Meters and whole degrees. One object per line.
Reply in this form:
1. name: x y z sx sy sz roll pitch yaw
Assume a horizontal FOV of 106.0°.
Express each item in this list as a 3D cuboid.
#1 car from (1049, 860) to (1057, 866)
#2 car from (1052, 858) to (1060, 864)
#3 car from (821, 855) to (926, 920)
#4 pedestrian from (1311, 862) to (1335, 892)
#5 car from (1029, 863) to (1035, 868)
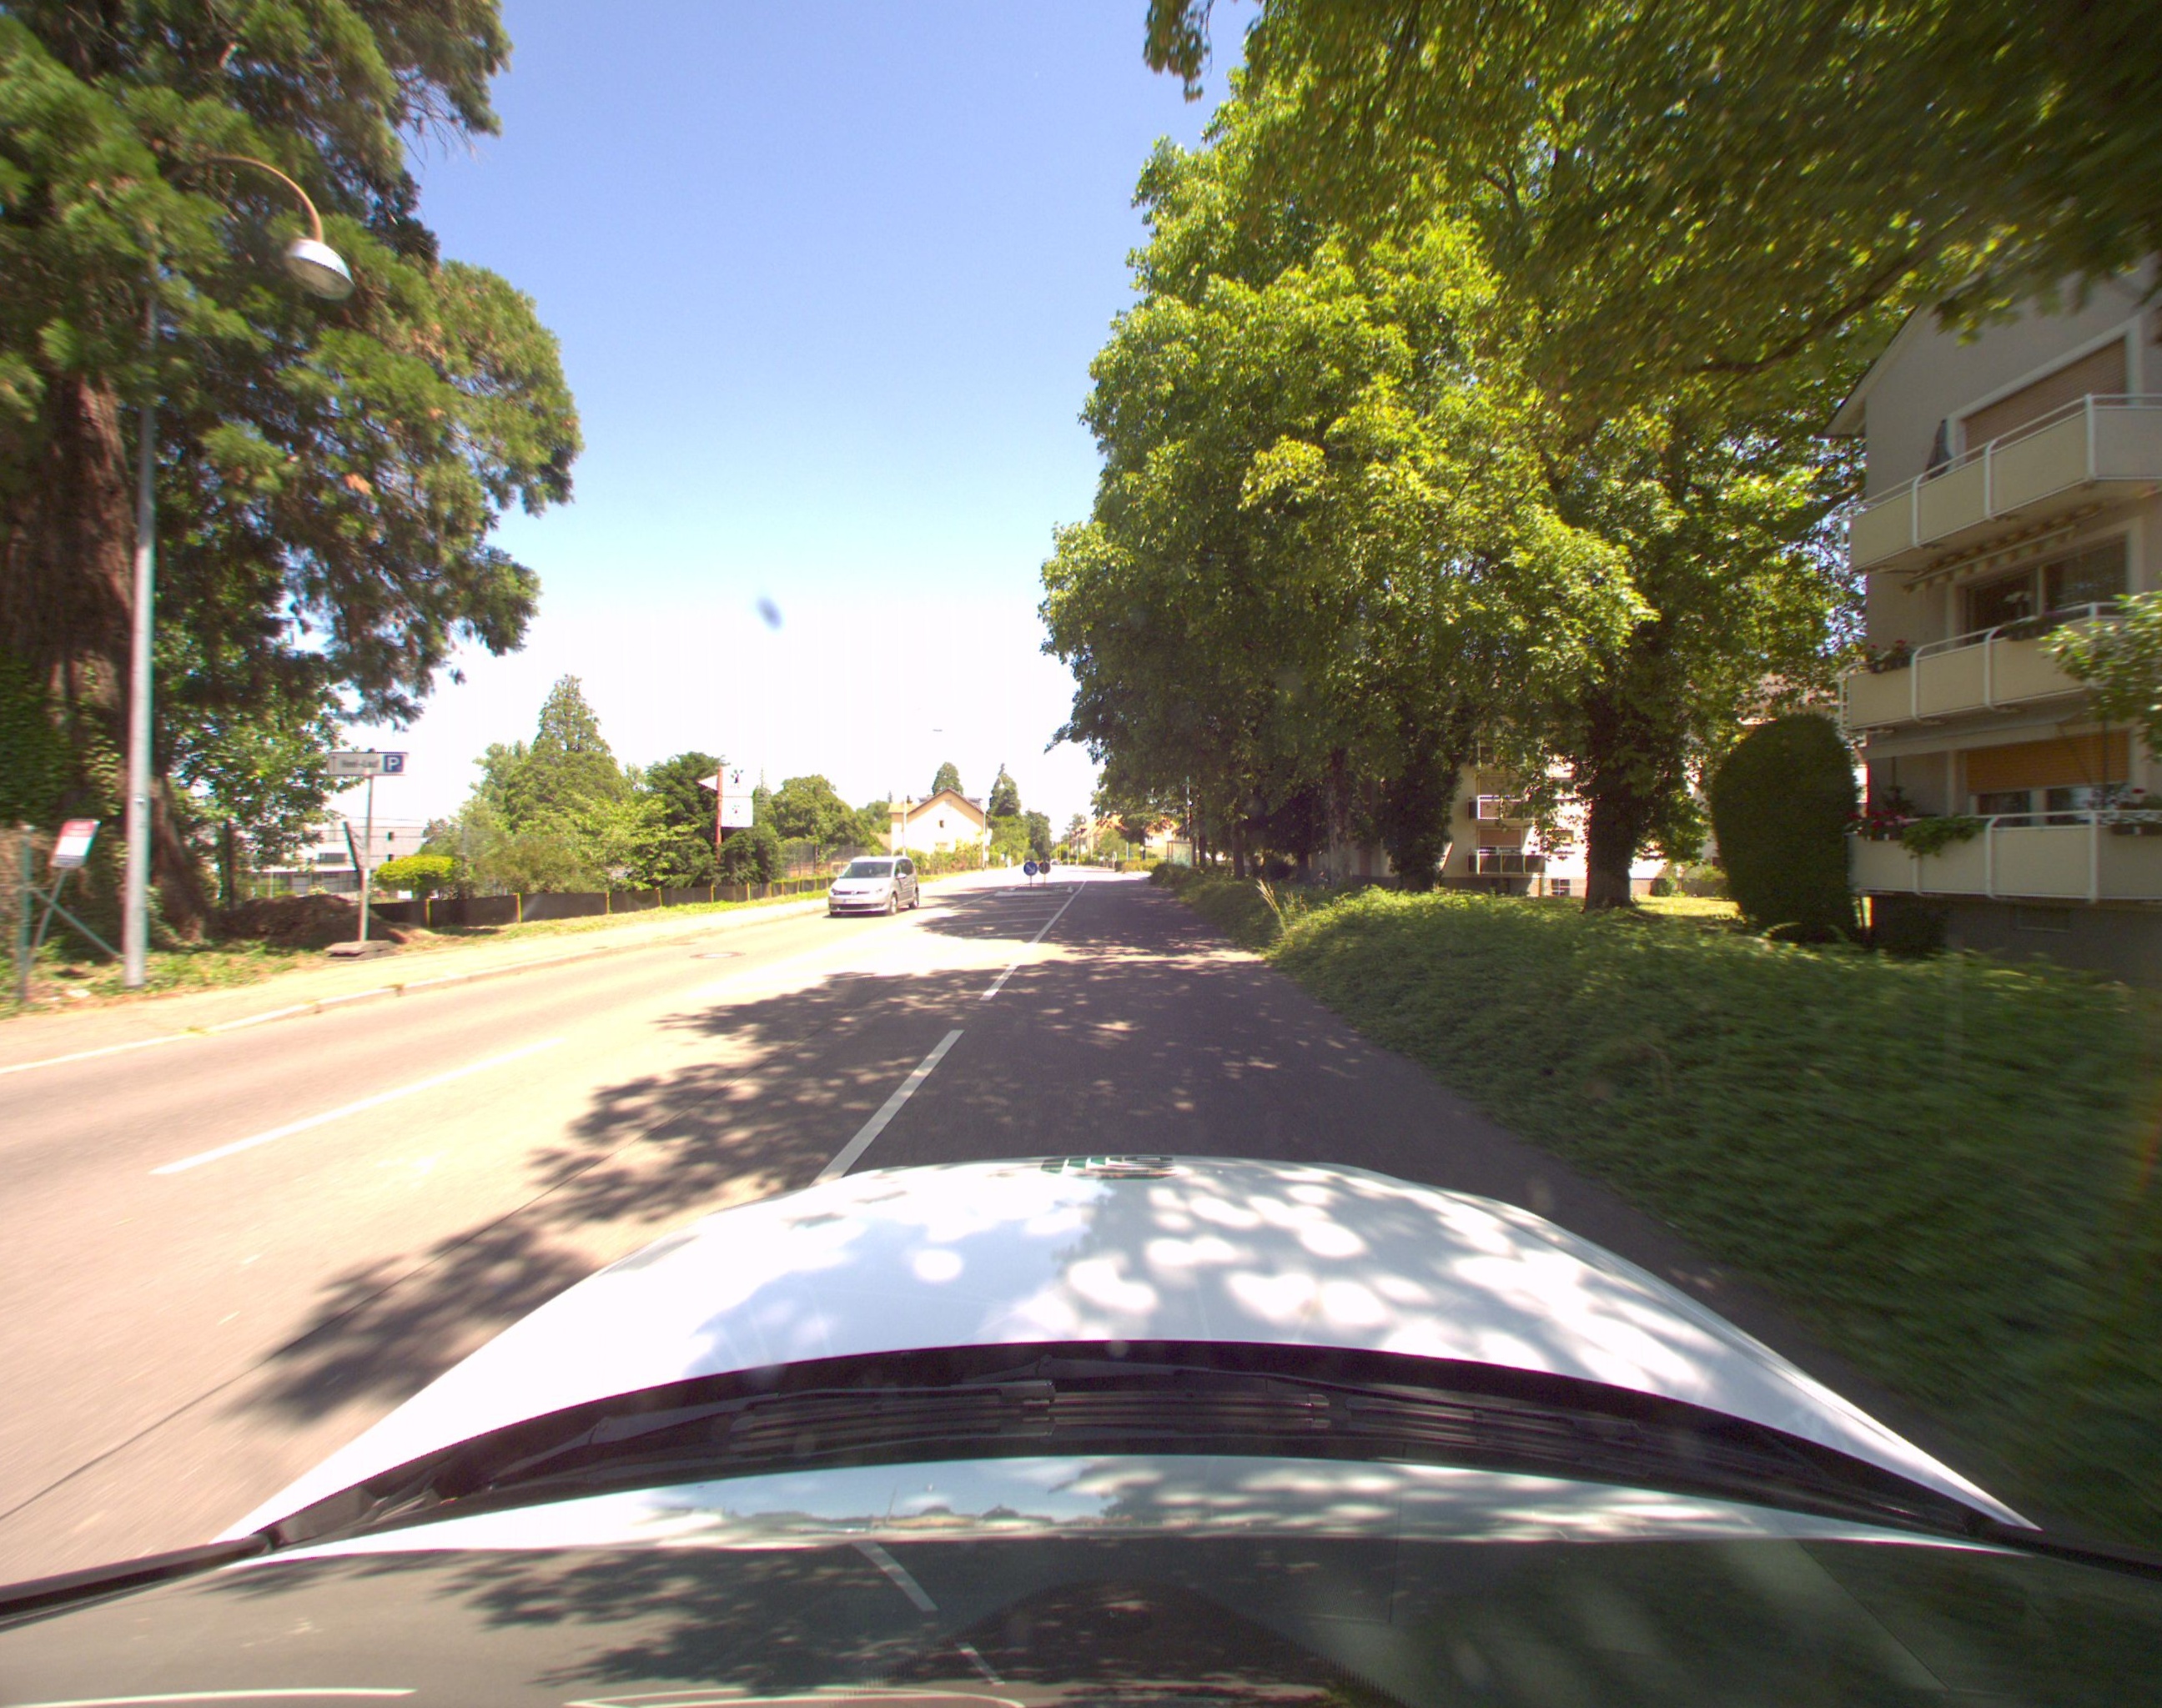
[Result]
1. car: -7.493 2.421 217.358 1.690 1.419 4.541 1 -2 -5
2. car: -6.300 1.729 207.843 1.690 1.419 4.541 1 -2 -5
3. car: -5.899 0.890 23.716 1.777 1.645 4.688 -2 0 0
4. pedestrian: 10.583 1.009 35.659 0.932 1.293 1.073 0 -1 13
5. car: -13.749 3.151 229.539 1.677 1.372 4.201 -1 0 -3
